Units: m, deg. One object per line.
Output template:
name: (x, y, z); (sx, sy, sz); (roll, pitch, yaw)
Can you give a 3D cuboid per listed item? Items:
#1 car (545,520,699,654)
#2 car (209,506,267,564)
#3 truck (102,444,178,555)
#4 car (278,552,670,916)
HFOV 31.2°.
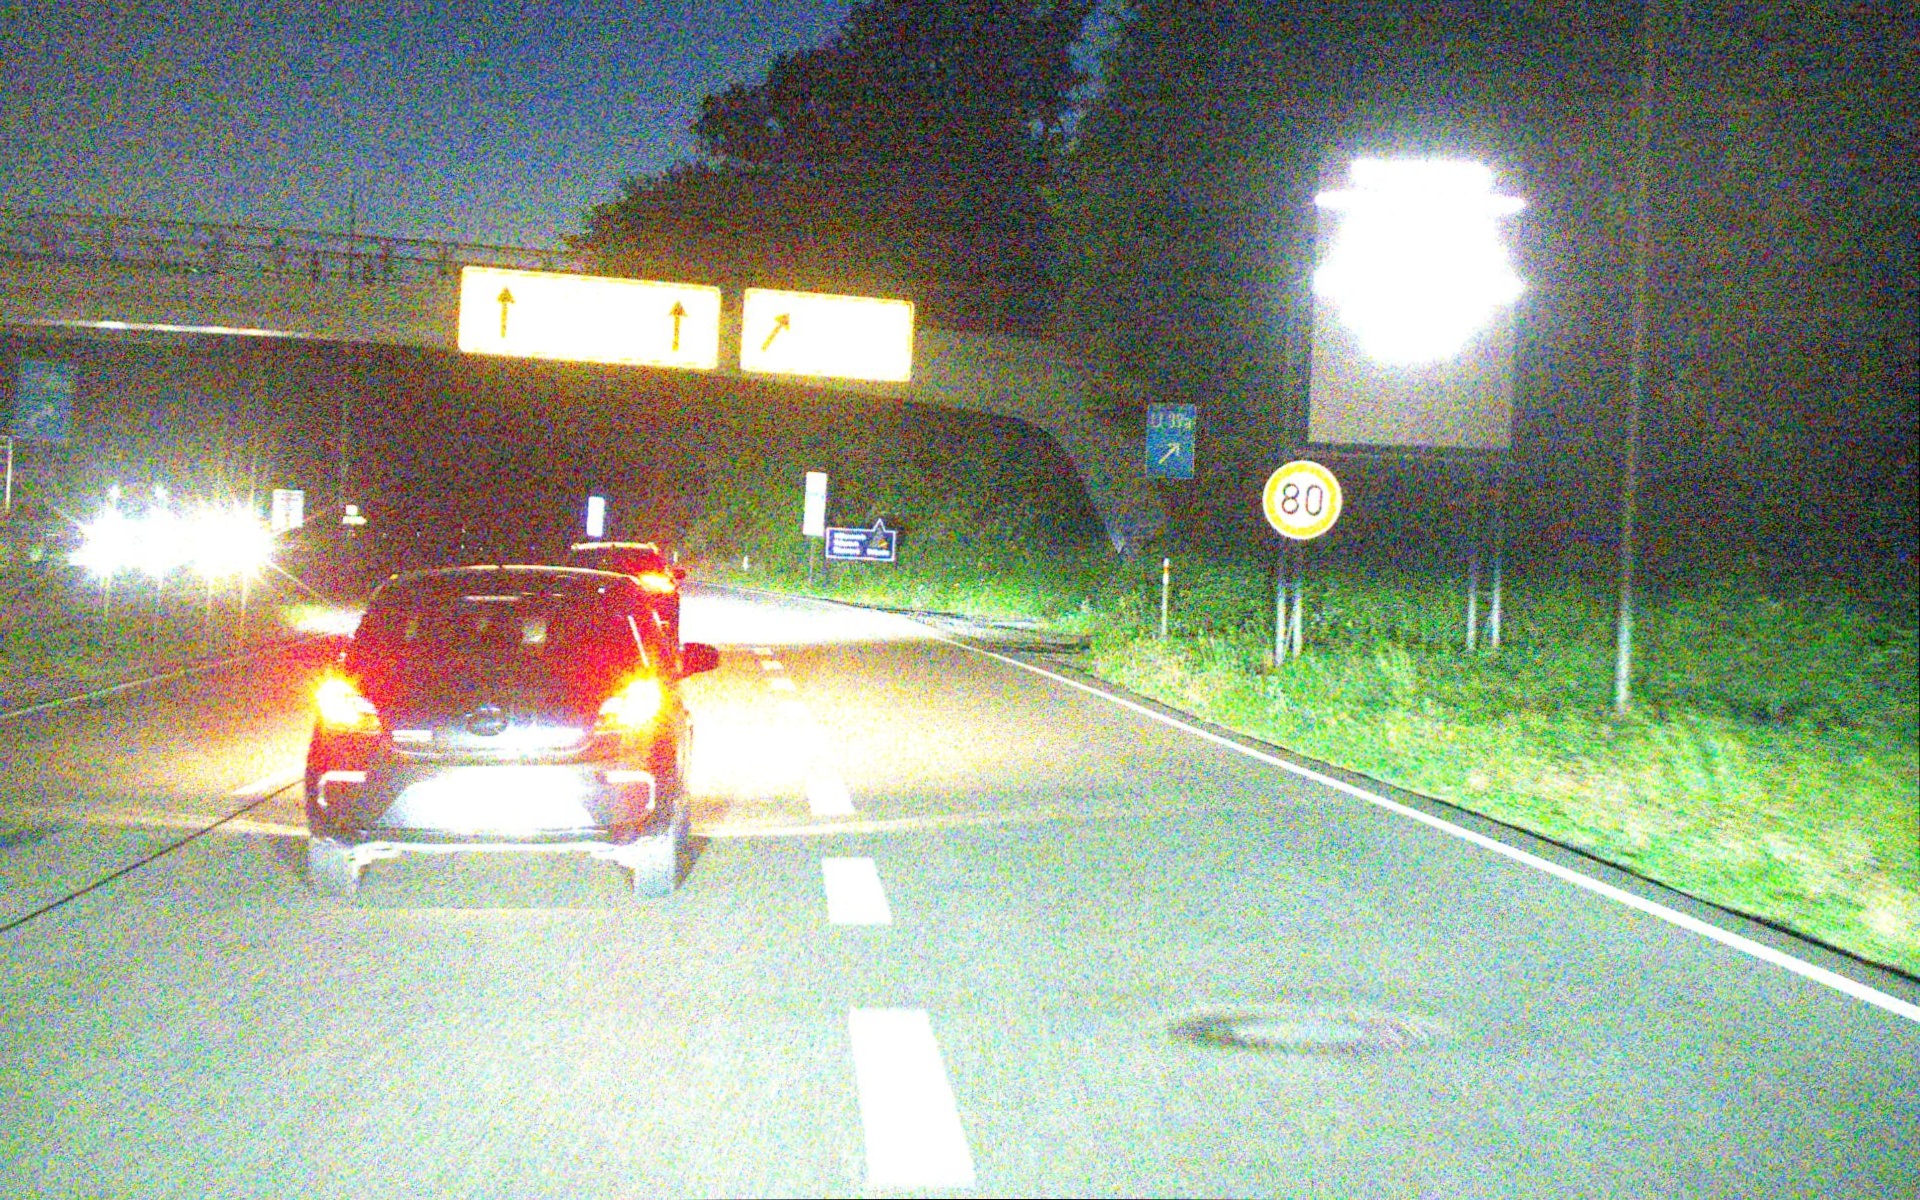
car: (-4.730, -0.217, 48.548); (1.906, 1.692, 4.001); (4, 1, -3)
car: (-30.535, -2.740, 145.496); (1.993, 2.259, 4.001); (5, 0, -8)
truck: (-33.497, -4.079, 140.528); (2.625, 4.218, 8.598); (5, 0, -13)
car: (-2.197, 0.536, 16.365); (1.588, 1.503, 4.001); (1, 1, -4)
